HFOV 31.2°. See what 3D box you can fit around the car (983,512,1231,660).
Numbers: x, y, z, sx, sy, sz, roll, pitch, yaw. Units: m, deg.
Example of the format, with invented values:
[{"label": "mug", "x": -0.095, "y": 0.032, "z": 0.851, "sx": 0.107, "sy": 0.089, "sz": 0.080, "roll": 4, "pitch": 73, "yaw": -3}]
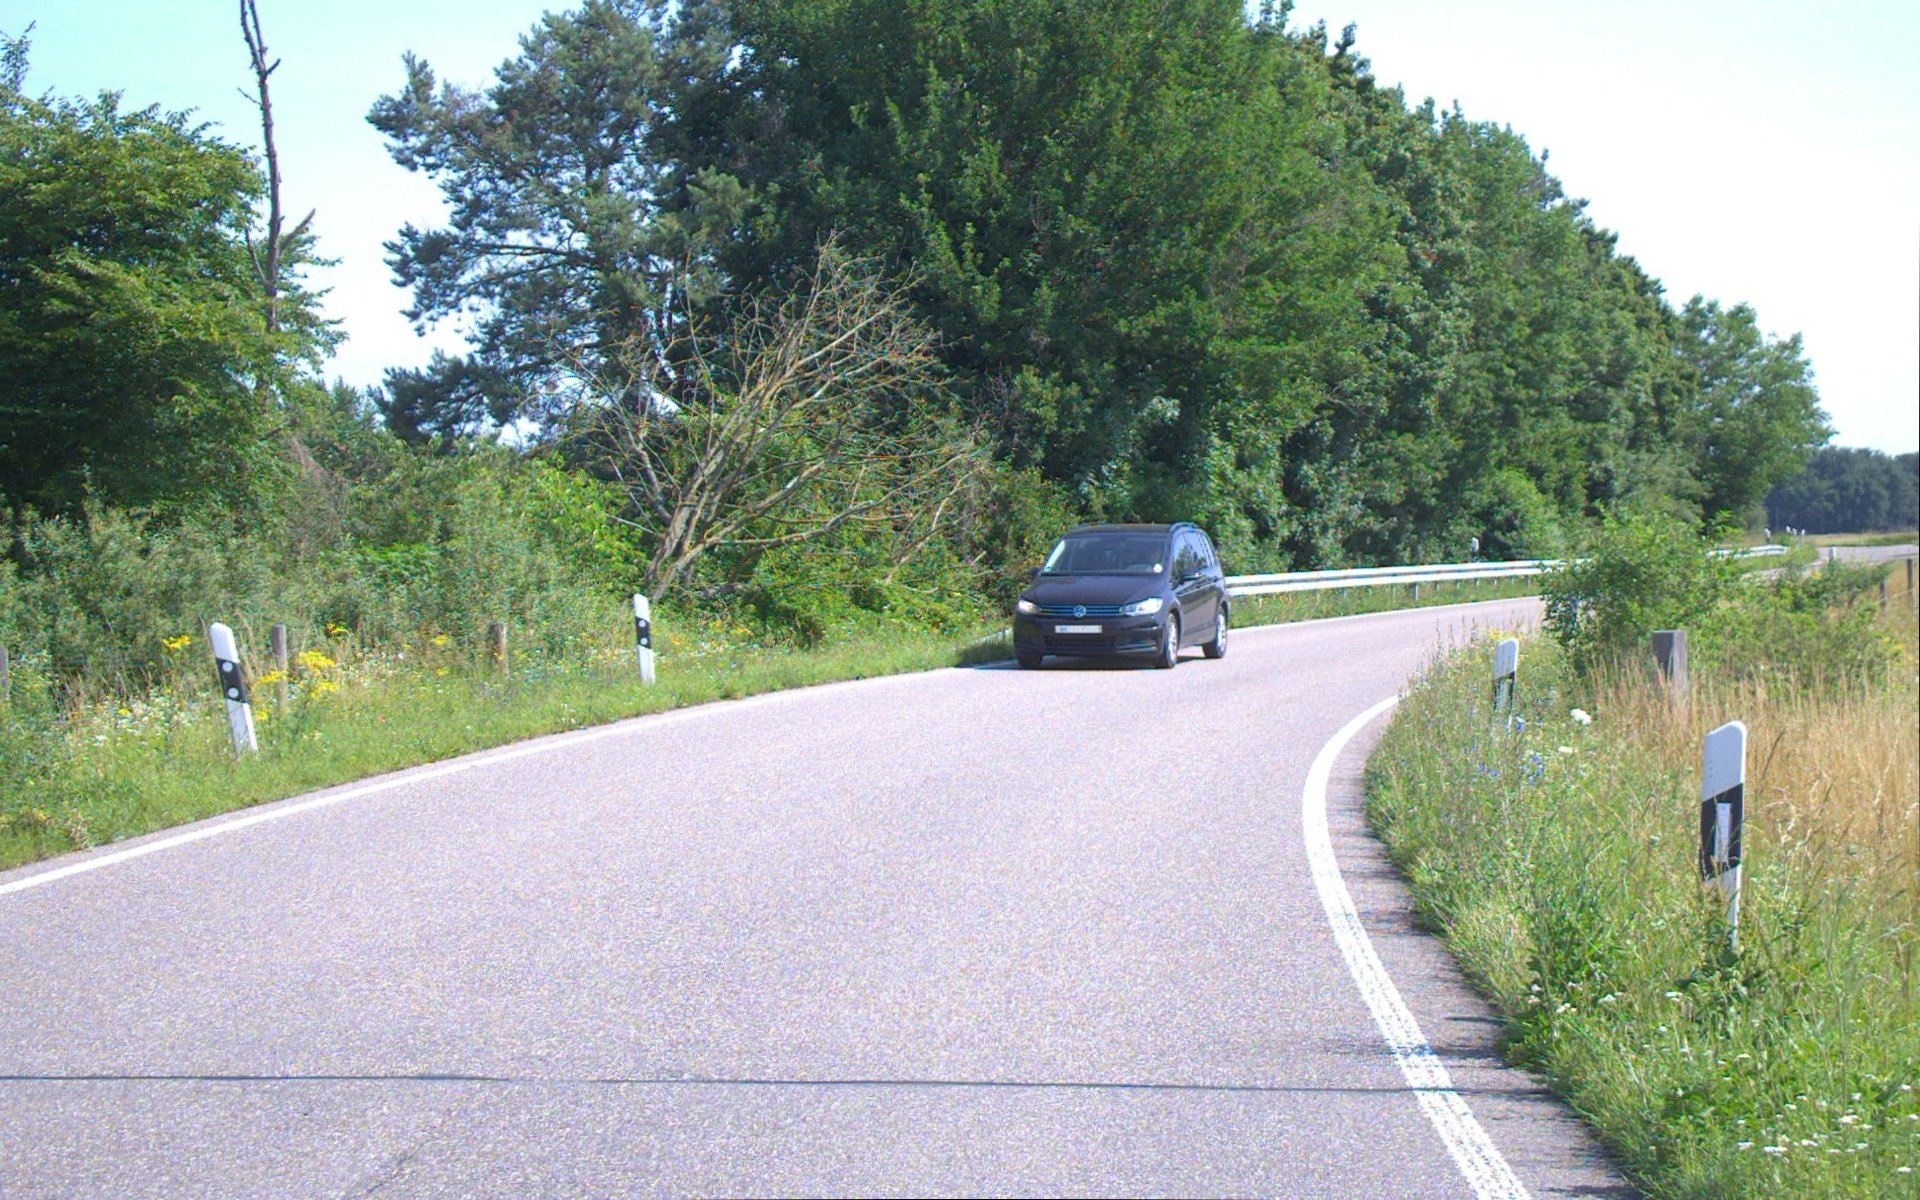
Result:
[{"label": "car", "x": 1.779, "y": -0.159, "z": 40.096, "sx": 1.785, "sy": 1.626, "sz": 4.157, "roll": 0, "pitch": 0, "yaw": 19}]
